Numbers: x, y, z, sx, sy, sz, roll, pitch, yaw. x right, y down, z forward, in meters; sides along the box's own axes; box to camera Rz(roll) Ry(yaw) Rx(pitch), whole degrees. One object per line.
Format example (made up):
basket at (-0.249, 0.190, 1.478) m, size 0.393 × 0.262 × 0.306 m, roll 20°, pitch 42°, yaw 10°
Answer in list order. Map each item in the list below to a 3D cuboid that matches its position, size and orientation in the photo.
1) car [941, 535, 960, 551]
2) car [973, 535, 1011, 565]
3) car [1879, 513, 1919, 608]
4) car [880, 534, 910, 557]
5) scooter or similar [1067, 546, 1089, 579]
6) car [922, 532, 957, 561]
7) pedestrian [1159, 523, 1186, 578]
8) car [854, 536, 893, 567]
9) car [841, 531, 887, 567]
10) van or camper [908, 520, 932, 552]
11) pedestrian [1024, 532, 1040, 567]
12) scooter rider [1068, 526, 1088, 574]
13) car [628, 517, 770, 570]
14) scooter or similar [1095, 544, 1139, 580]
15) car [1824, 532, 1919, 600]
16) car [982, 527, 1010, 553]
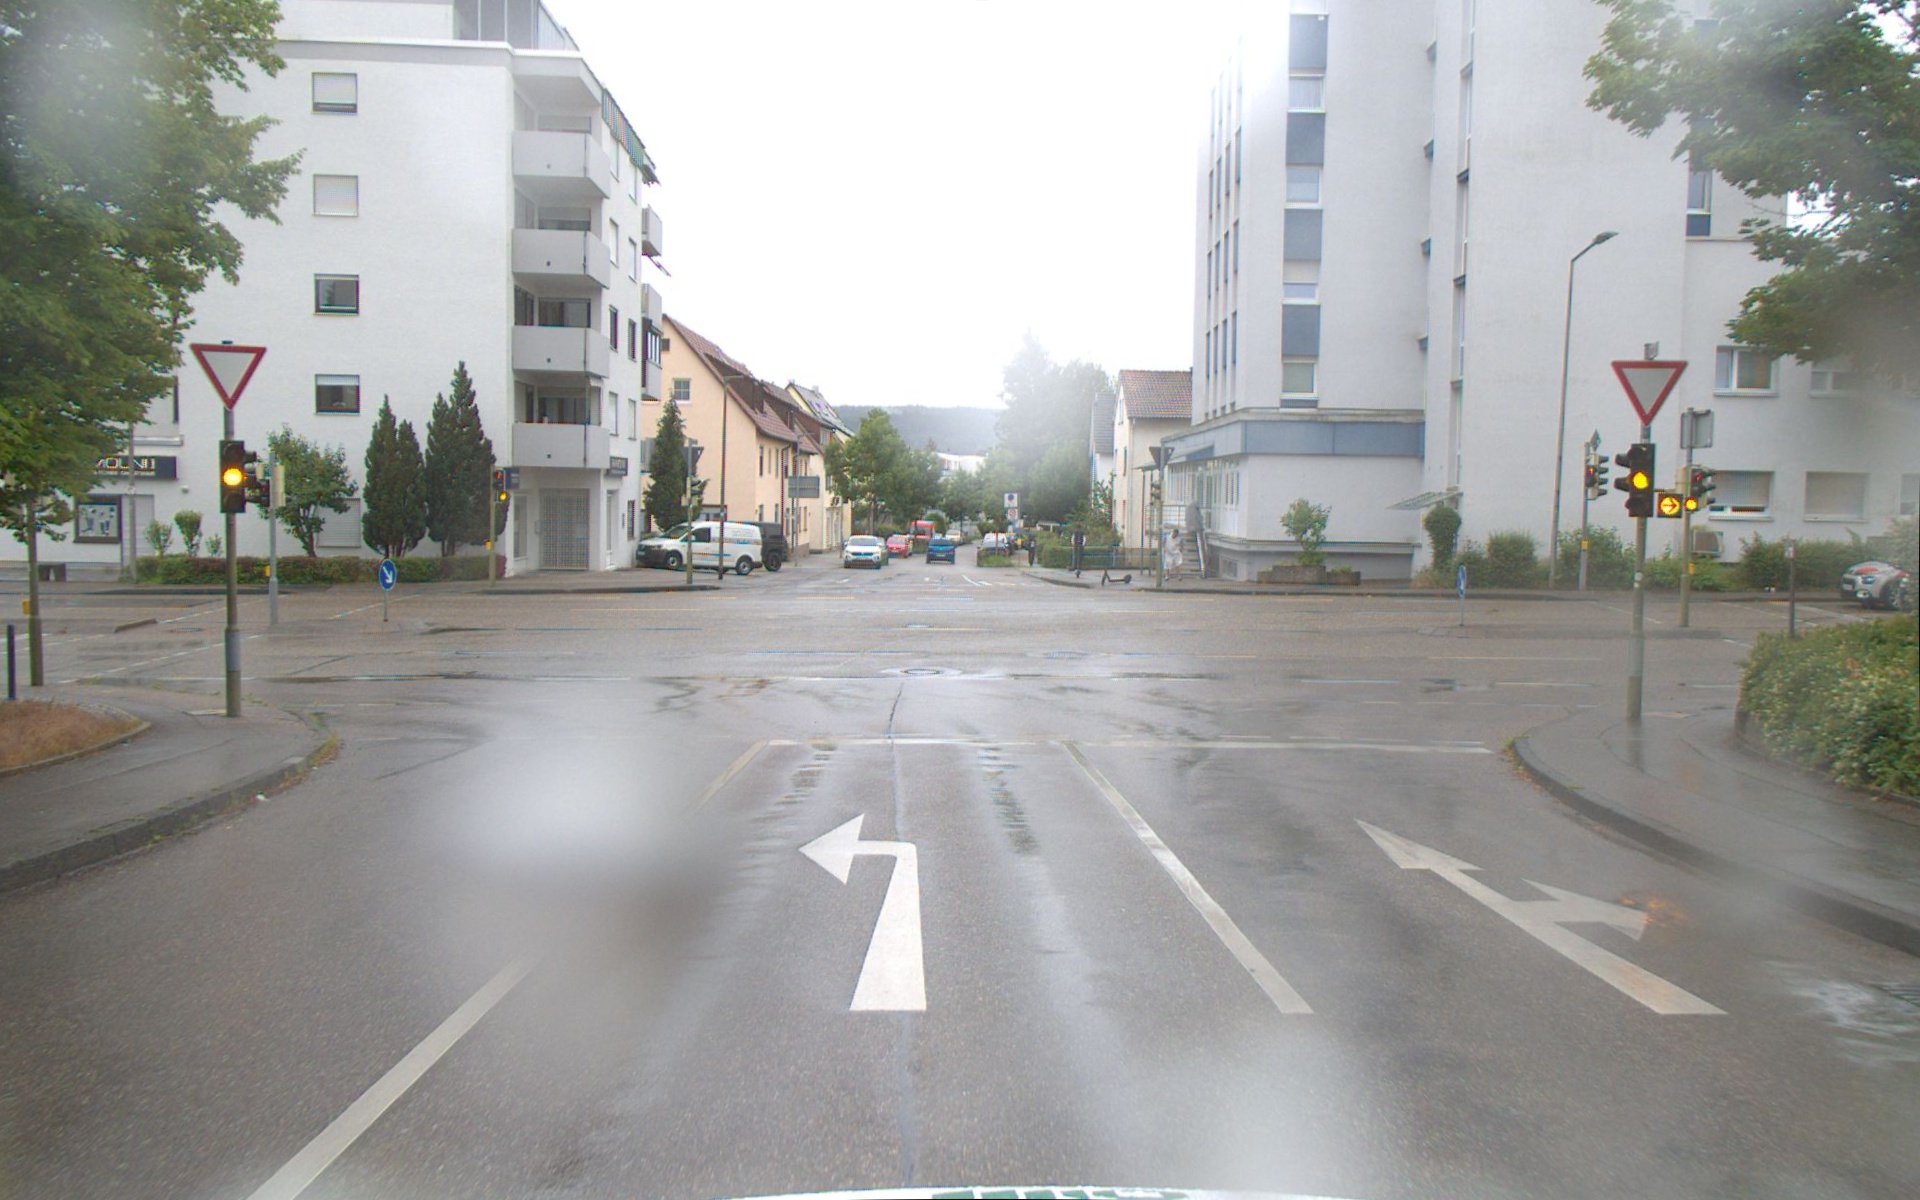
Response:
car at (-0.977, -5.729, 167.137) m, size 1.862 × 1.586 × 4.192 m, roll 0°, pitch 2°, yaw 0°
car at (1.814, -2.863, 94.209) m, size 2.102 × 1.616 × 4.129 m, roll 0°, pitch 2°, yaw 0°
car at (22.009, -0.806, 34.403) m, size 4.712 × 1.950 × 1.828 m, roll 0°, pitch 1°, yaw 6°
car at (-4.577, -3.850, 116.869) m, size 1.862 × 1.586 × 4.192 m, roll 0°, pitch 2°, yaw 0°
scooter or similar at (4.444, -1.423, 62.387) m, size 0.741 × 1.192 × 1.315 m, roll 0°, pitch 2°, yaw 1°
car at (-1.212, -3.183, 98.104) m, size 1.953 × 1.713 × 3.999 m, roll 0°, pitch 2°, yaw -2°
pedestrian at (6.727, -1.563, 52.343) m, size 0.635 × 1.676 × 0.525 m, roll 3°, pitch 1°, yaw -7°
car at (-4.781, -2.721, 91.822) m, size 1.952 × 1.654 × 4.192 m, roll 0°, pitch 2°, yaw 0°
car at (-4.638, -2.493, 80.420) m, size 1.952 × 1.654 × 4.192 m, roll 0°, pitch 2°, yaw 0°
van or camper at (-3.368, -5.378, 139.194) m, size 1.862 × 2.557 × 4.240 m, roll 0°, pitch 2°, yaw 0°
pedestrian at (3.960, -2.768, 91.254) m, size 0.731 × 1.880 × 0.525 m, roll 3°, pitch 1°, yaw -7°
scooter rider at (4.446, -1.888, 62.383) m, size 0.736 × 1.827 × 0.673 m, roll 0°, pitch 2°, yaw 1°
car at (-9.435, -2.060, 60.031) m, size 4.797 × 1.867 × 1.972 m, roll -2°, pitch 2°, yaw -39°
scooter or similar at (4.859, -1.183, 51.200) m, size 1.243 × 1.100 × 0.876 m, roll -1°, pitch 2°, yaw -5°
car at (22.281, -0.809, 38.025) m, size 3.903 × 1.493 × 1.833 m, roll -1°, pitch 2°, yaw 4°
car at (2.505, -4.189, 116.286) m, size 1.862 × 1.775 × 4.192 m, roll 0°, pitch 2°, yaw 0°
